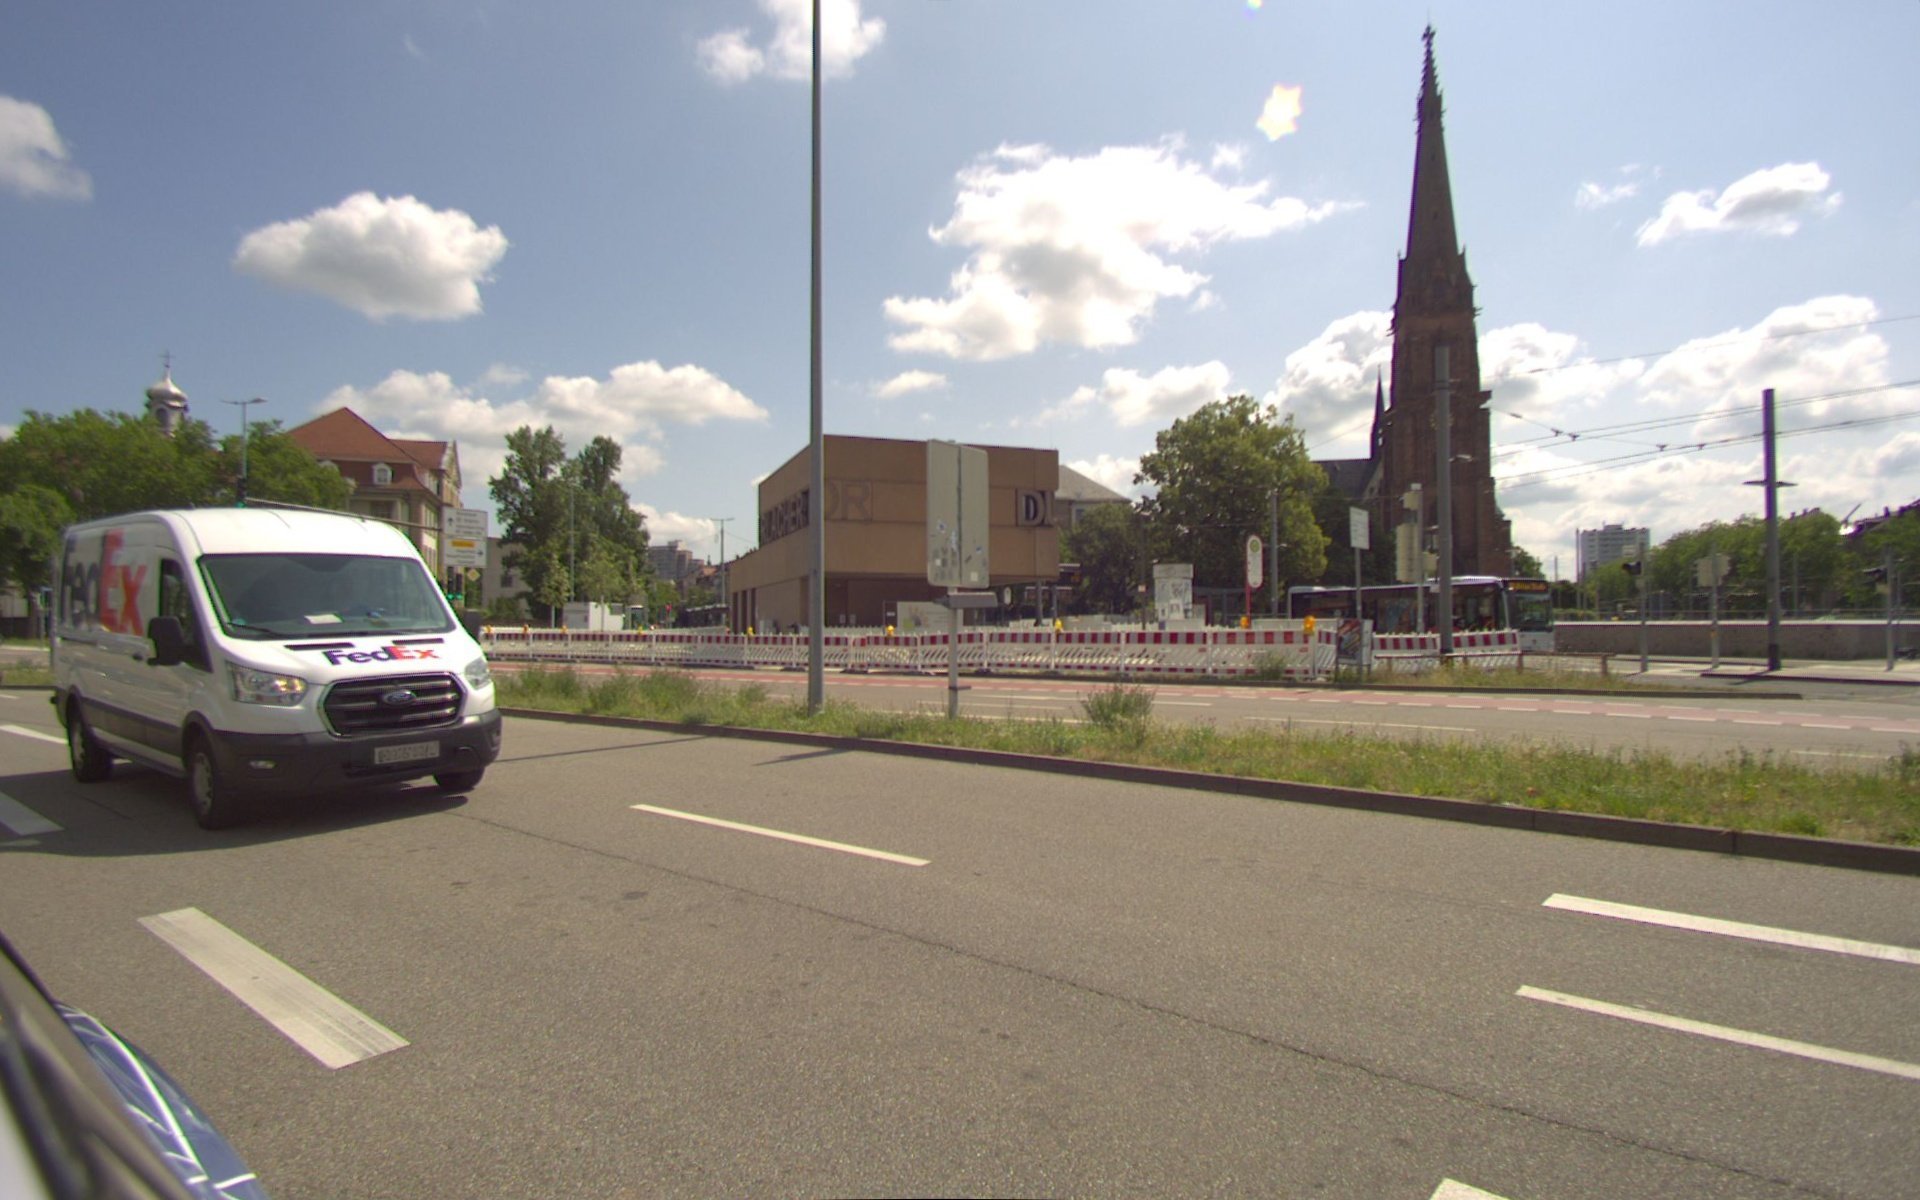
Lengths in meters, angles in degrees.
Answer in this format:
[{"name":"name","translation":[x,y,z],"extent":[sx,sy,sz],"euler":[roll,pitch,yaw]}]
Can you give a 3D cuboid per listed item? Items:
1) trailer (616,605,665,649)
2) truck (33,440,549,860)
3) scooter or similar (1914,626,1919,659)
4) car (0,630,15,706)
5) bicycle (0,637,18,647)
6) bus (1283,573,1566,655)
[{"name":"trailer","translation":[-22.487,1.839,71.137],"extent":[1.967,2.935,4.376],"euler":[0,0,-37]},{"name":"truck","translation":[-6.261,0.343,9.085],"extent":[5.909,2.660,2.116],"euler":[-1,0,38]},{"name":"scooter or similar","translation":[32.707,1.431,34.075],"extent":[1.111,1.098,0.243],"euler":[0,0,-11]},{"name":"car","translation":[-20.674,1.377,19.523],"extent":[4.486,1.445,1.741],"euler":[-2,0,20]},{"name":"bicycle","translation":[-77.559,3.415,82.293],"extent":[1.442,0.795,0.399],"euler":[0,-2,-10]},{"name":"bus","translation":[18.464,0.493,41.821],"extent":[2.550,2.881,12.307],"euler":[0,0,-21]}]
